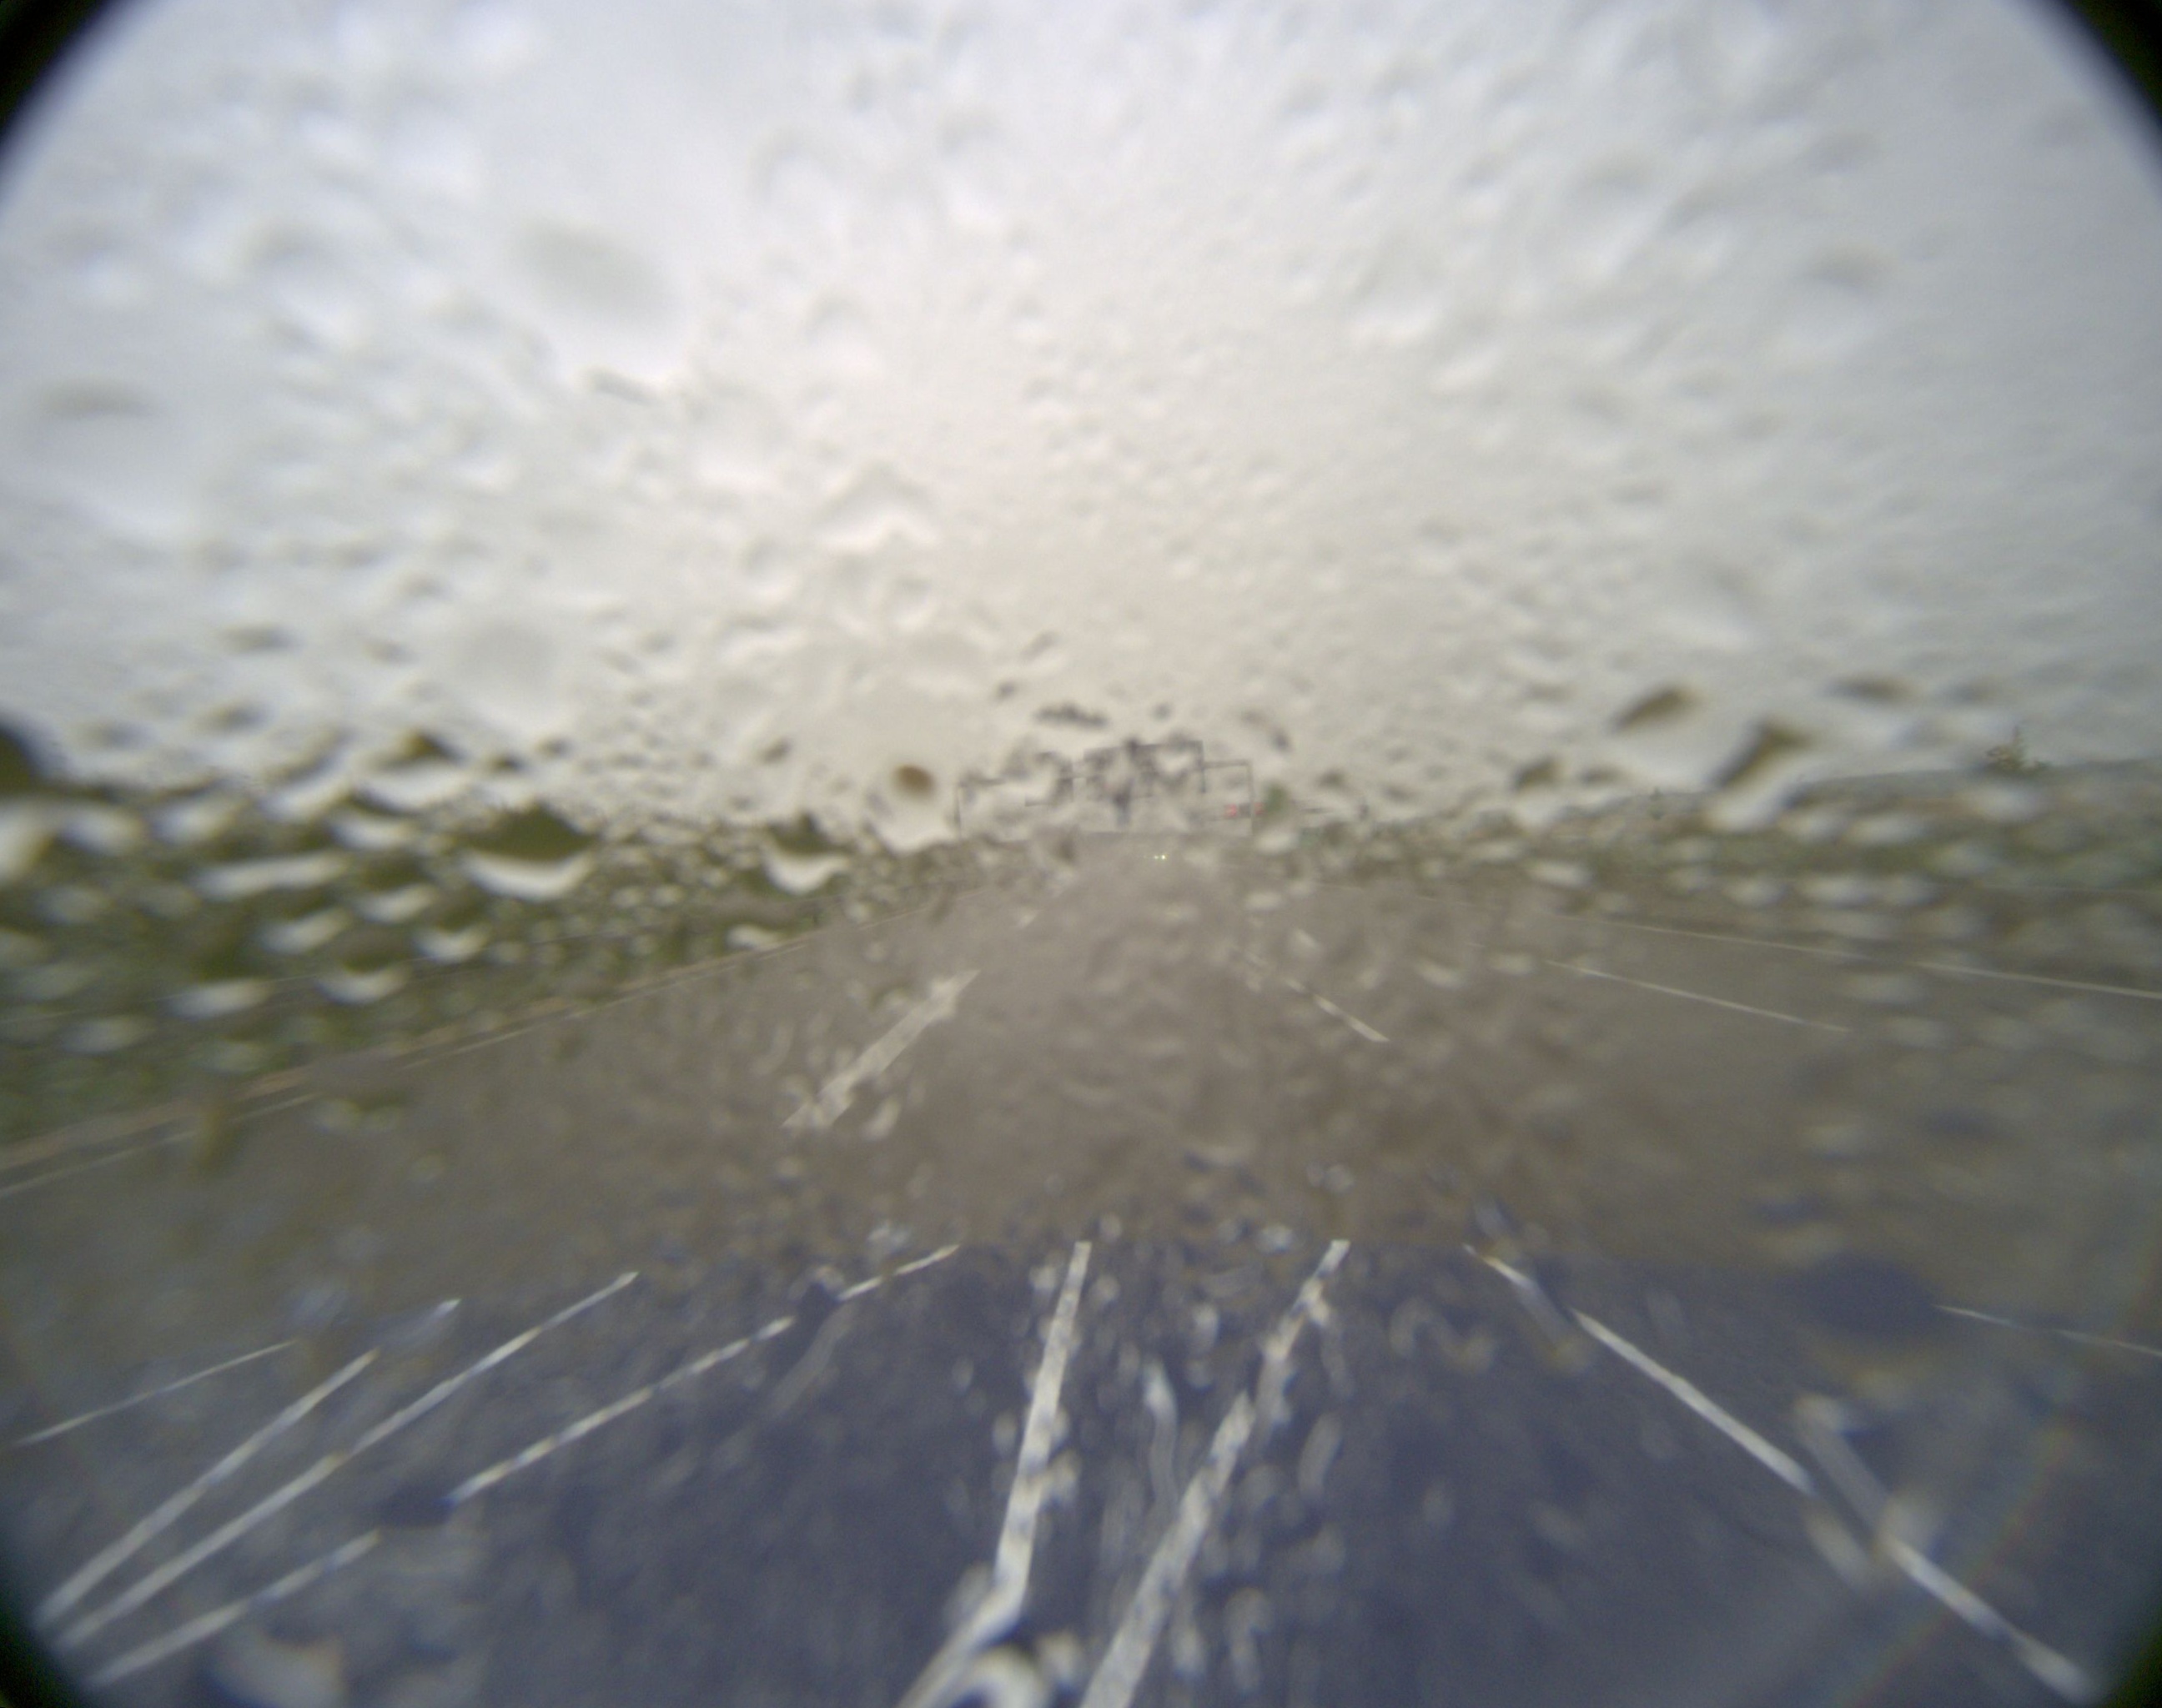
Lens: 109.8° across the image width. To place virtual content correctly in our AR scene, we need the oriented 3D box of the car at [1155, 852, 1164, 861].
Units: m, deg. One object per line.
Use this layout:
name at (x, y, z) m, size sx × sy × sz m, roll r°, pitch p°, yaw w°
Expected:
car at (14.488, 0.401, 140.427) m, size 1.700 × 1.543 × 3.734 m, roll -3°, pitch 0°, yaw 5°

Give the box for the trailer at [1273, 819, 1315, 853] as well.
trailer at (27.388, -2.201, 98.387) m, size 1.998 × 4.016 × 14.305 m, roll -2°, pitch 0°, yaw 3°
